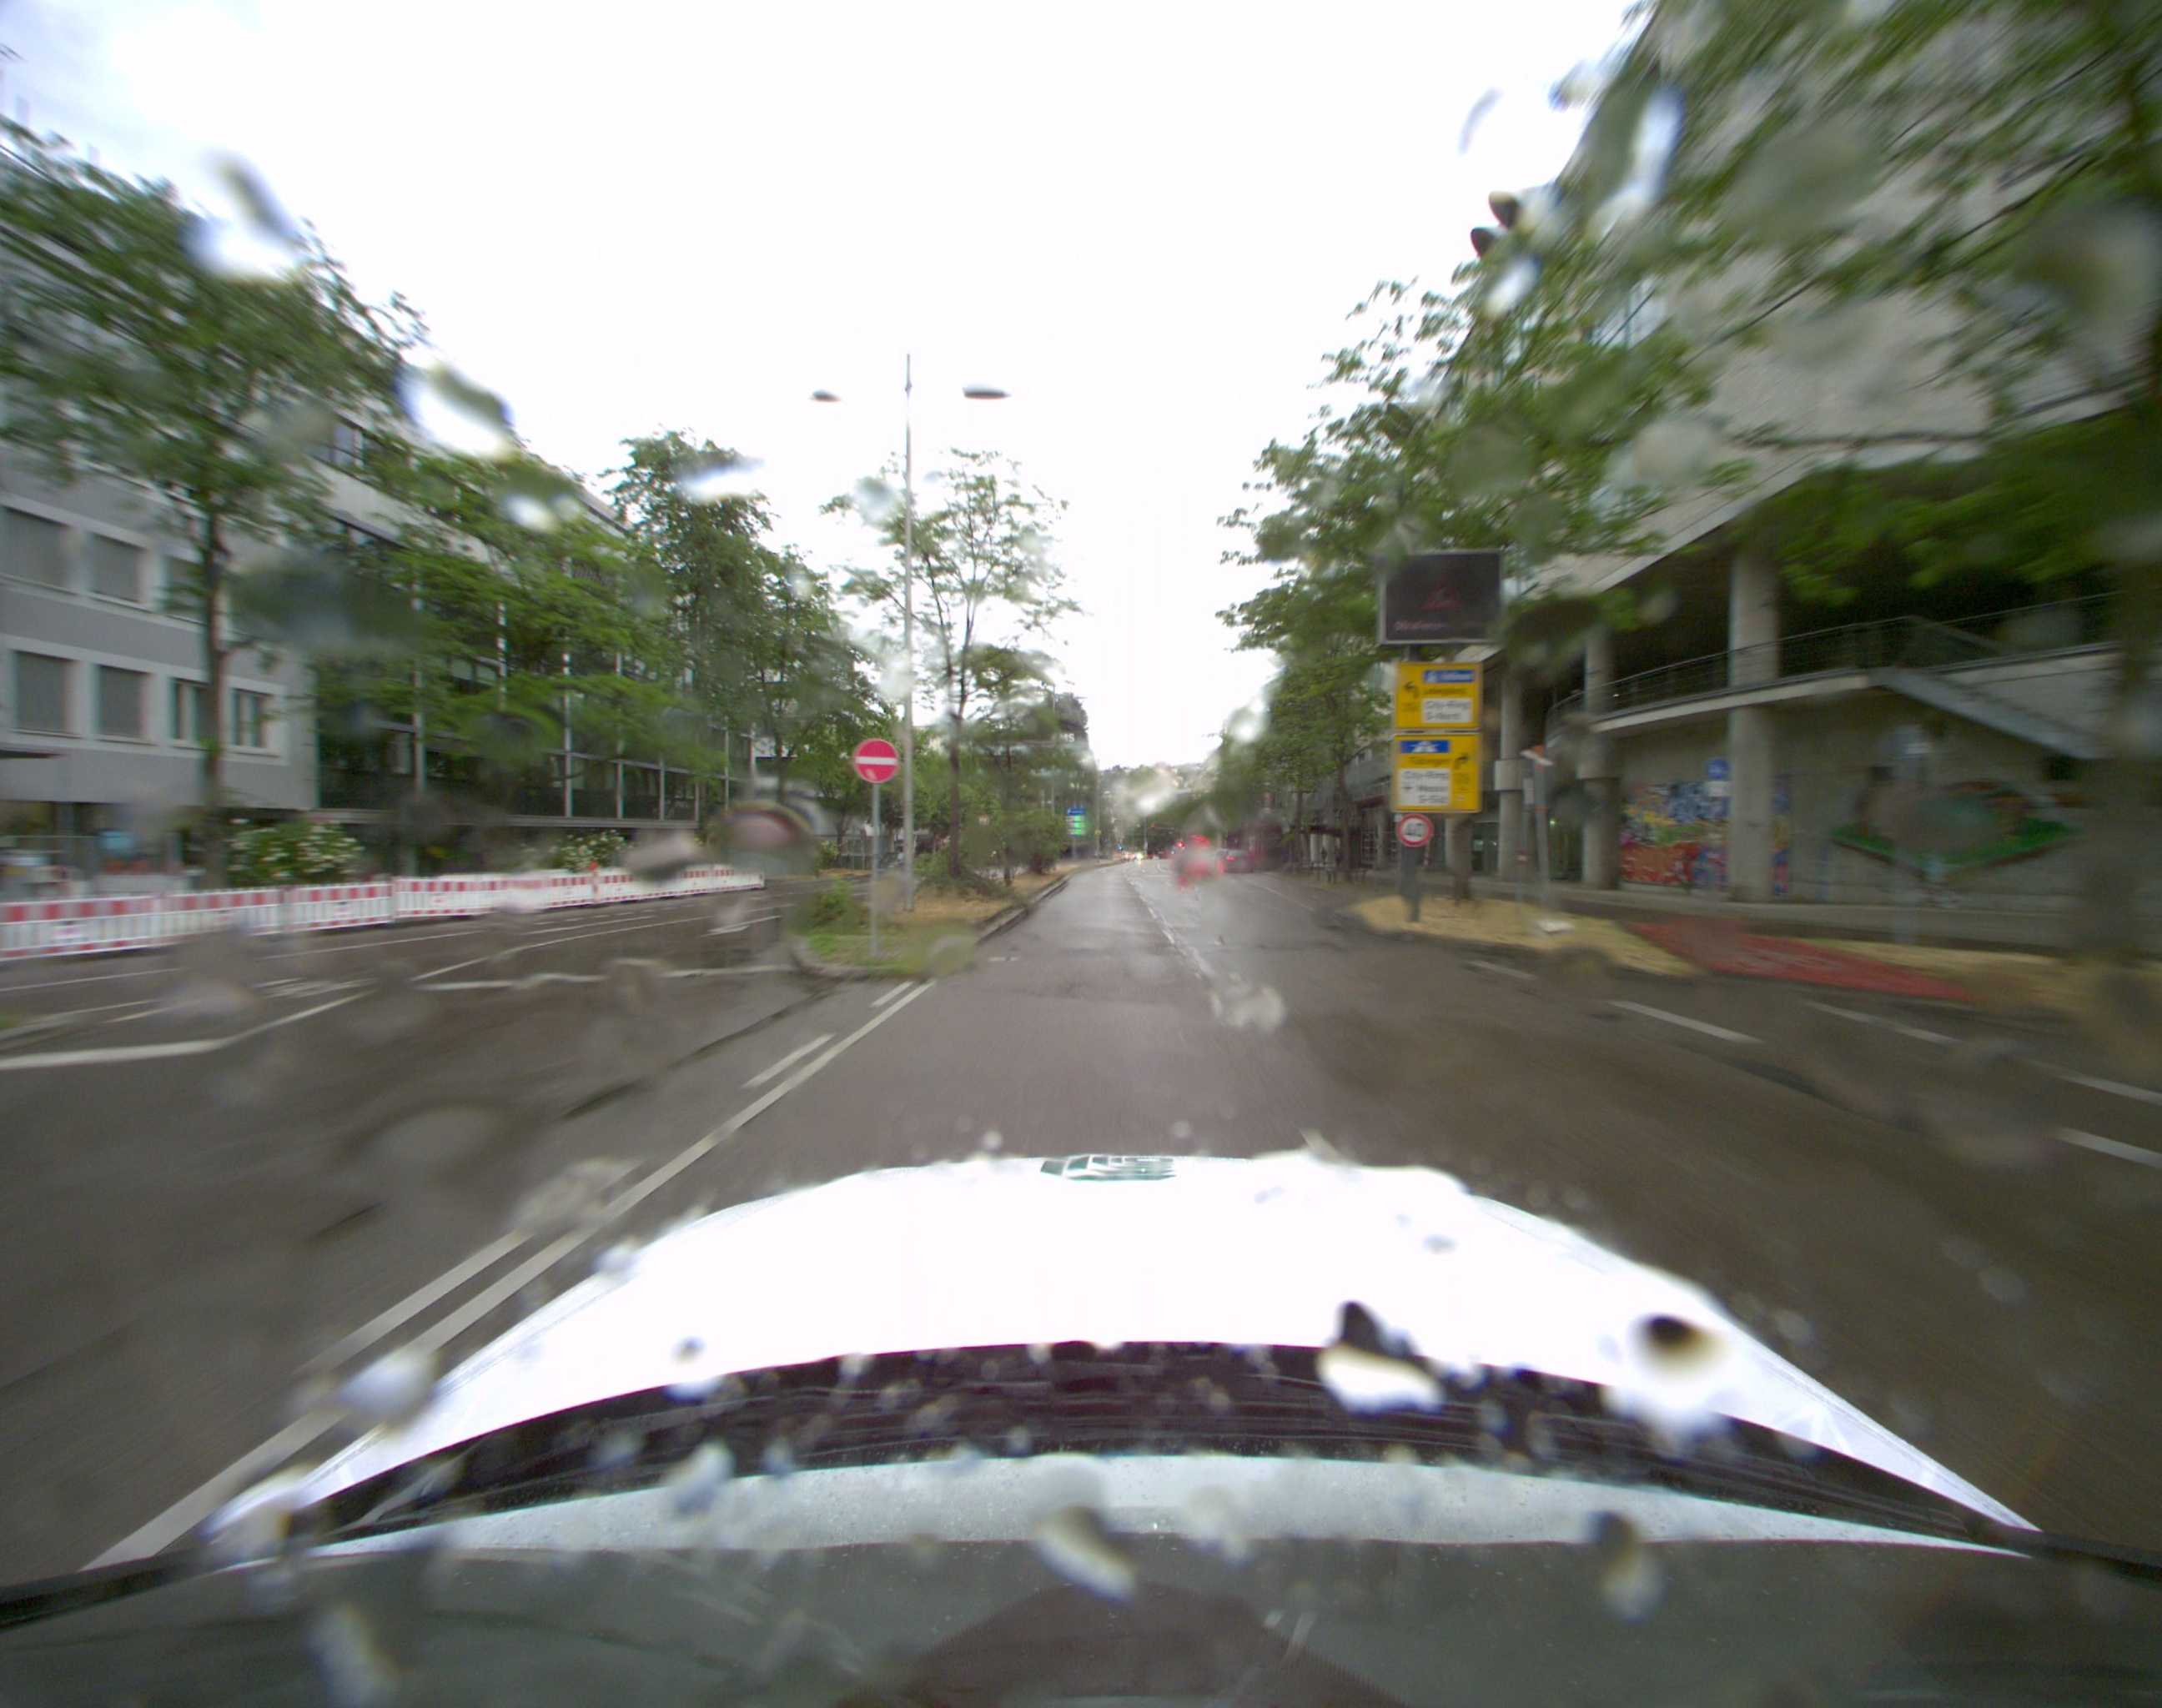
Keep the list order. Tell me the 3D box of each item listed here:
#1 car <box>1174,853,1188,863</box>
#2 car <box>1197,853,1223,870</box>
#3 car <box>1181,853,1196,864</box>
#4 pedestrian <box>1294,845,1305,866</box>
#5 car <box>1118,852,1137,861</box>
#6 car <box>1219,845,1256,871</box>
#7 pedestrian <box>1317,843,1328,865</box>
[{"bbox_3d":[17.117,0.687,139.376,1.986,1.736,4.001,-1,-1,2],"label":"car"},{"bbox_3d":[11.784,0.713,74.623,1.837,1.492,4.002,-1,0,2],"label":"car"},{"bbox_3d":[16.883,0.751,128.193,1.986,1.724,4.000,-1,-1,1],"label":"car"},{"bbox_3d":[19.825,0.148,73.934,0.772,1.920,0.702,-1,-1,1],"label":"pedestrian"},{"bbox_3d":[8.670,0.428,152.163,1.835,1.640,4.271,1,-1,-20],"label":"car"},{"bbox_3d":[10.748,0.249,56.085,2.324,1.691,4.010,-1,0,9],"label":"car"},{"bbox_3d":[20.520,0.008,69.175,0.770,1.920,0.705,-1,-2,12],"label":"pedestrian"}]
